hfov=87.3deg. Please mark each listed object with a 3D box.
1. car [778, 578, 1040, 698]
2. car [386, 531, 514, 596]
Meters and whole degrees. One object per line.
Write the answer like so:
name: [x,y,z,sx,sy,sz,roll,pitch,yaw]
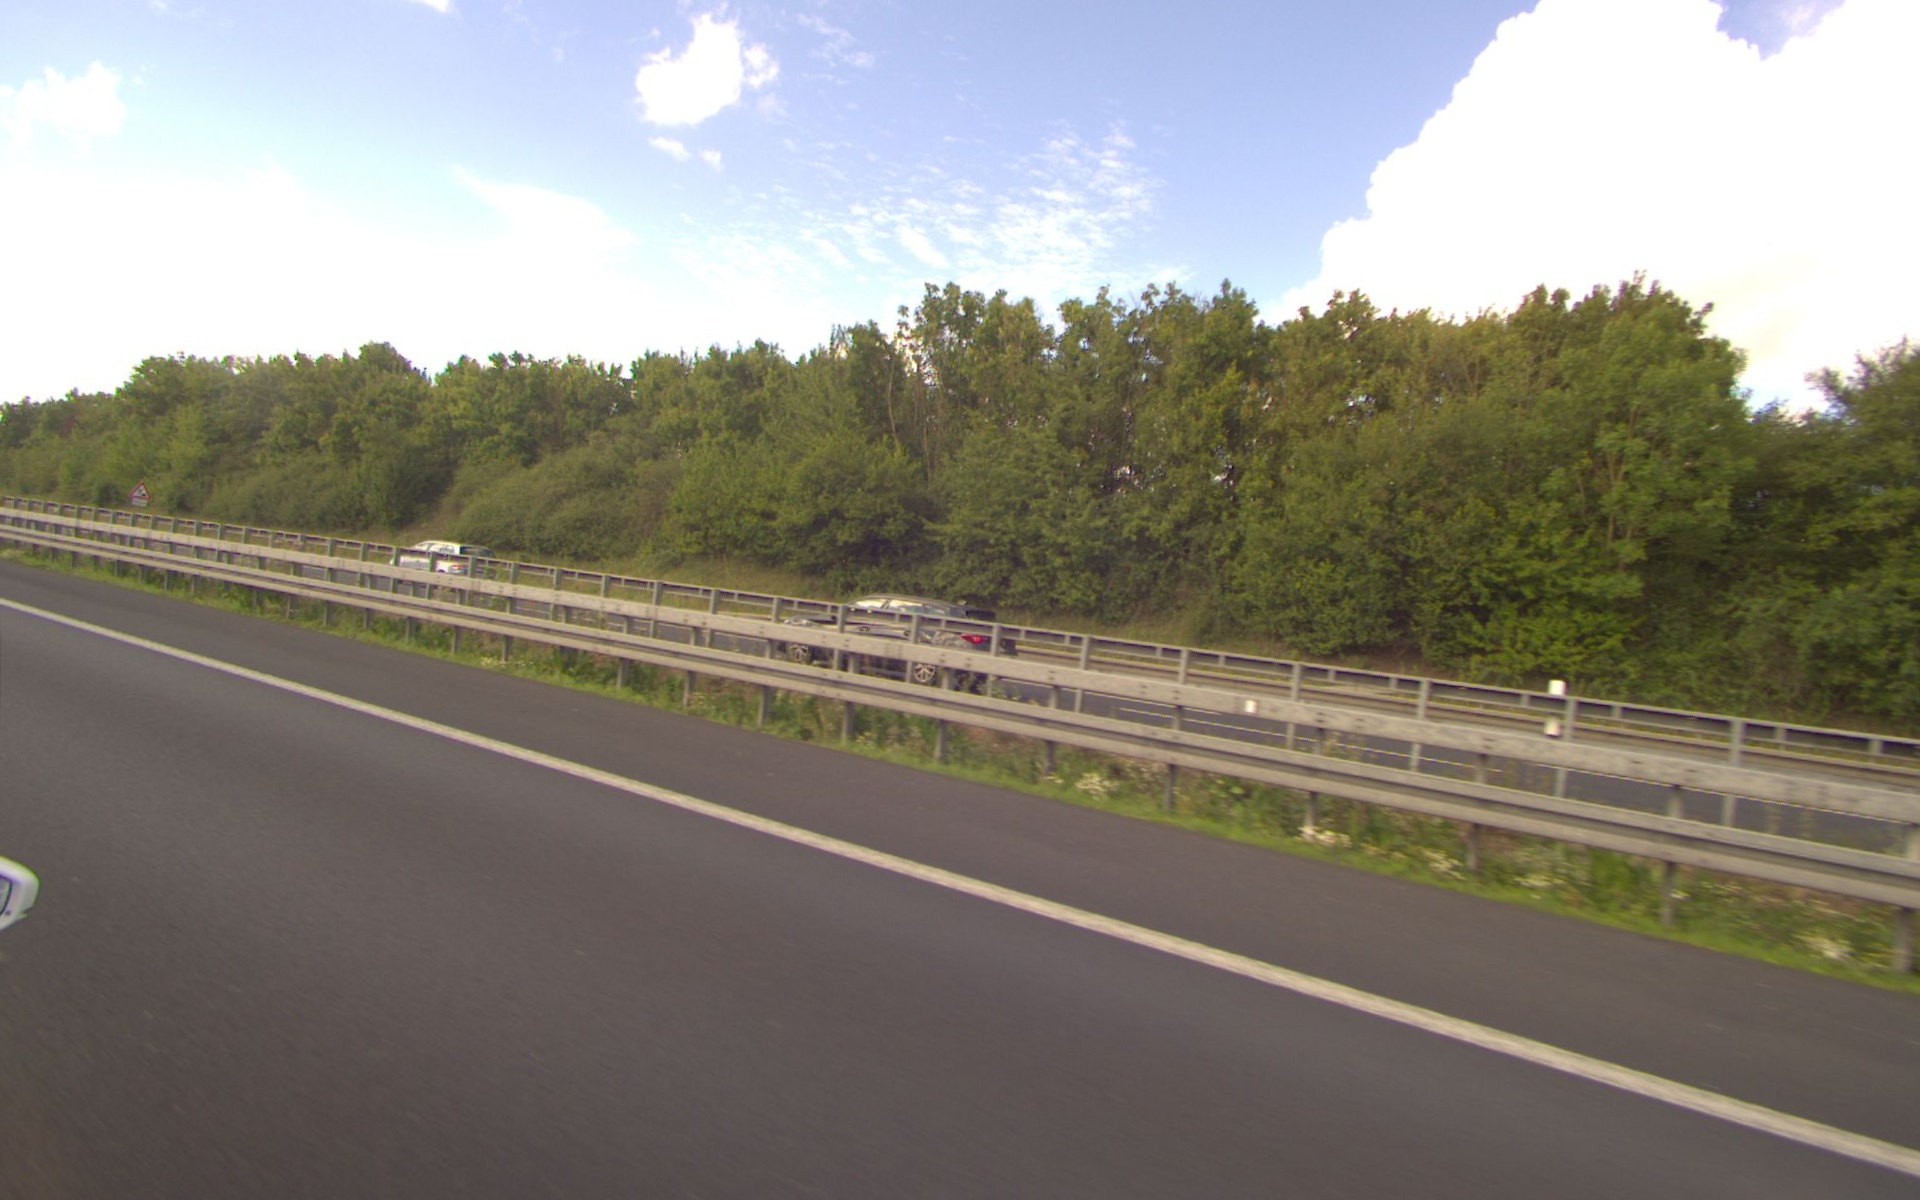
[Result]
car: [-0.892,0.631,17.234,3.933,1.502,1.996,6,0,31]
car: [-17.256,-1.244,34.009,3.934,1.730,1.995,6,1,32]
